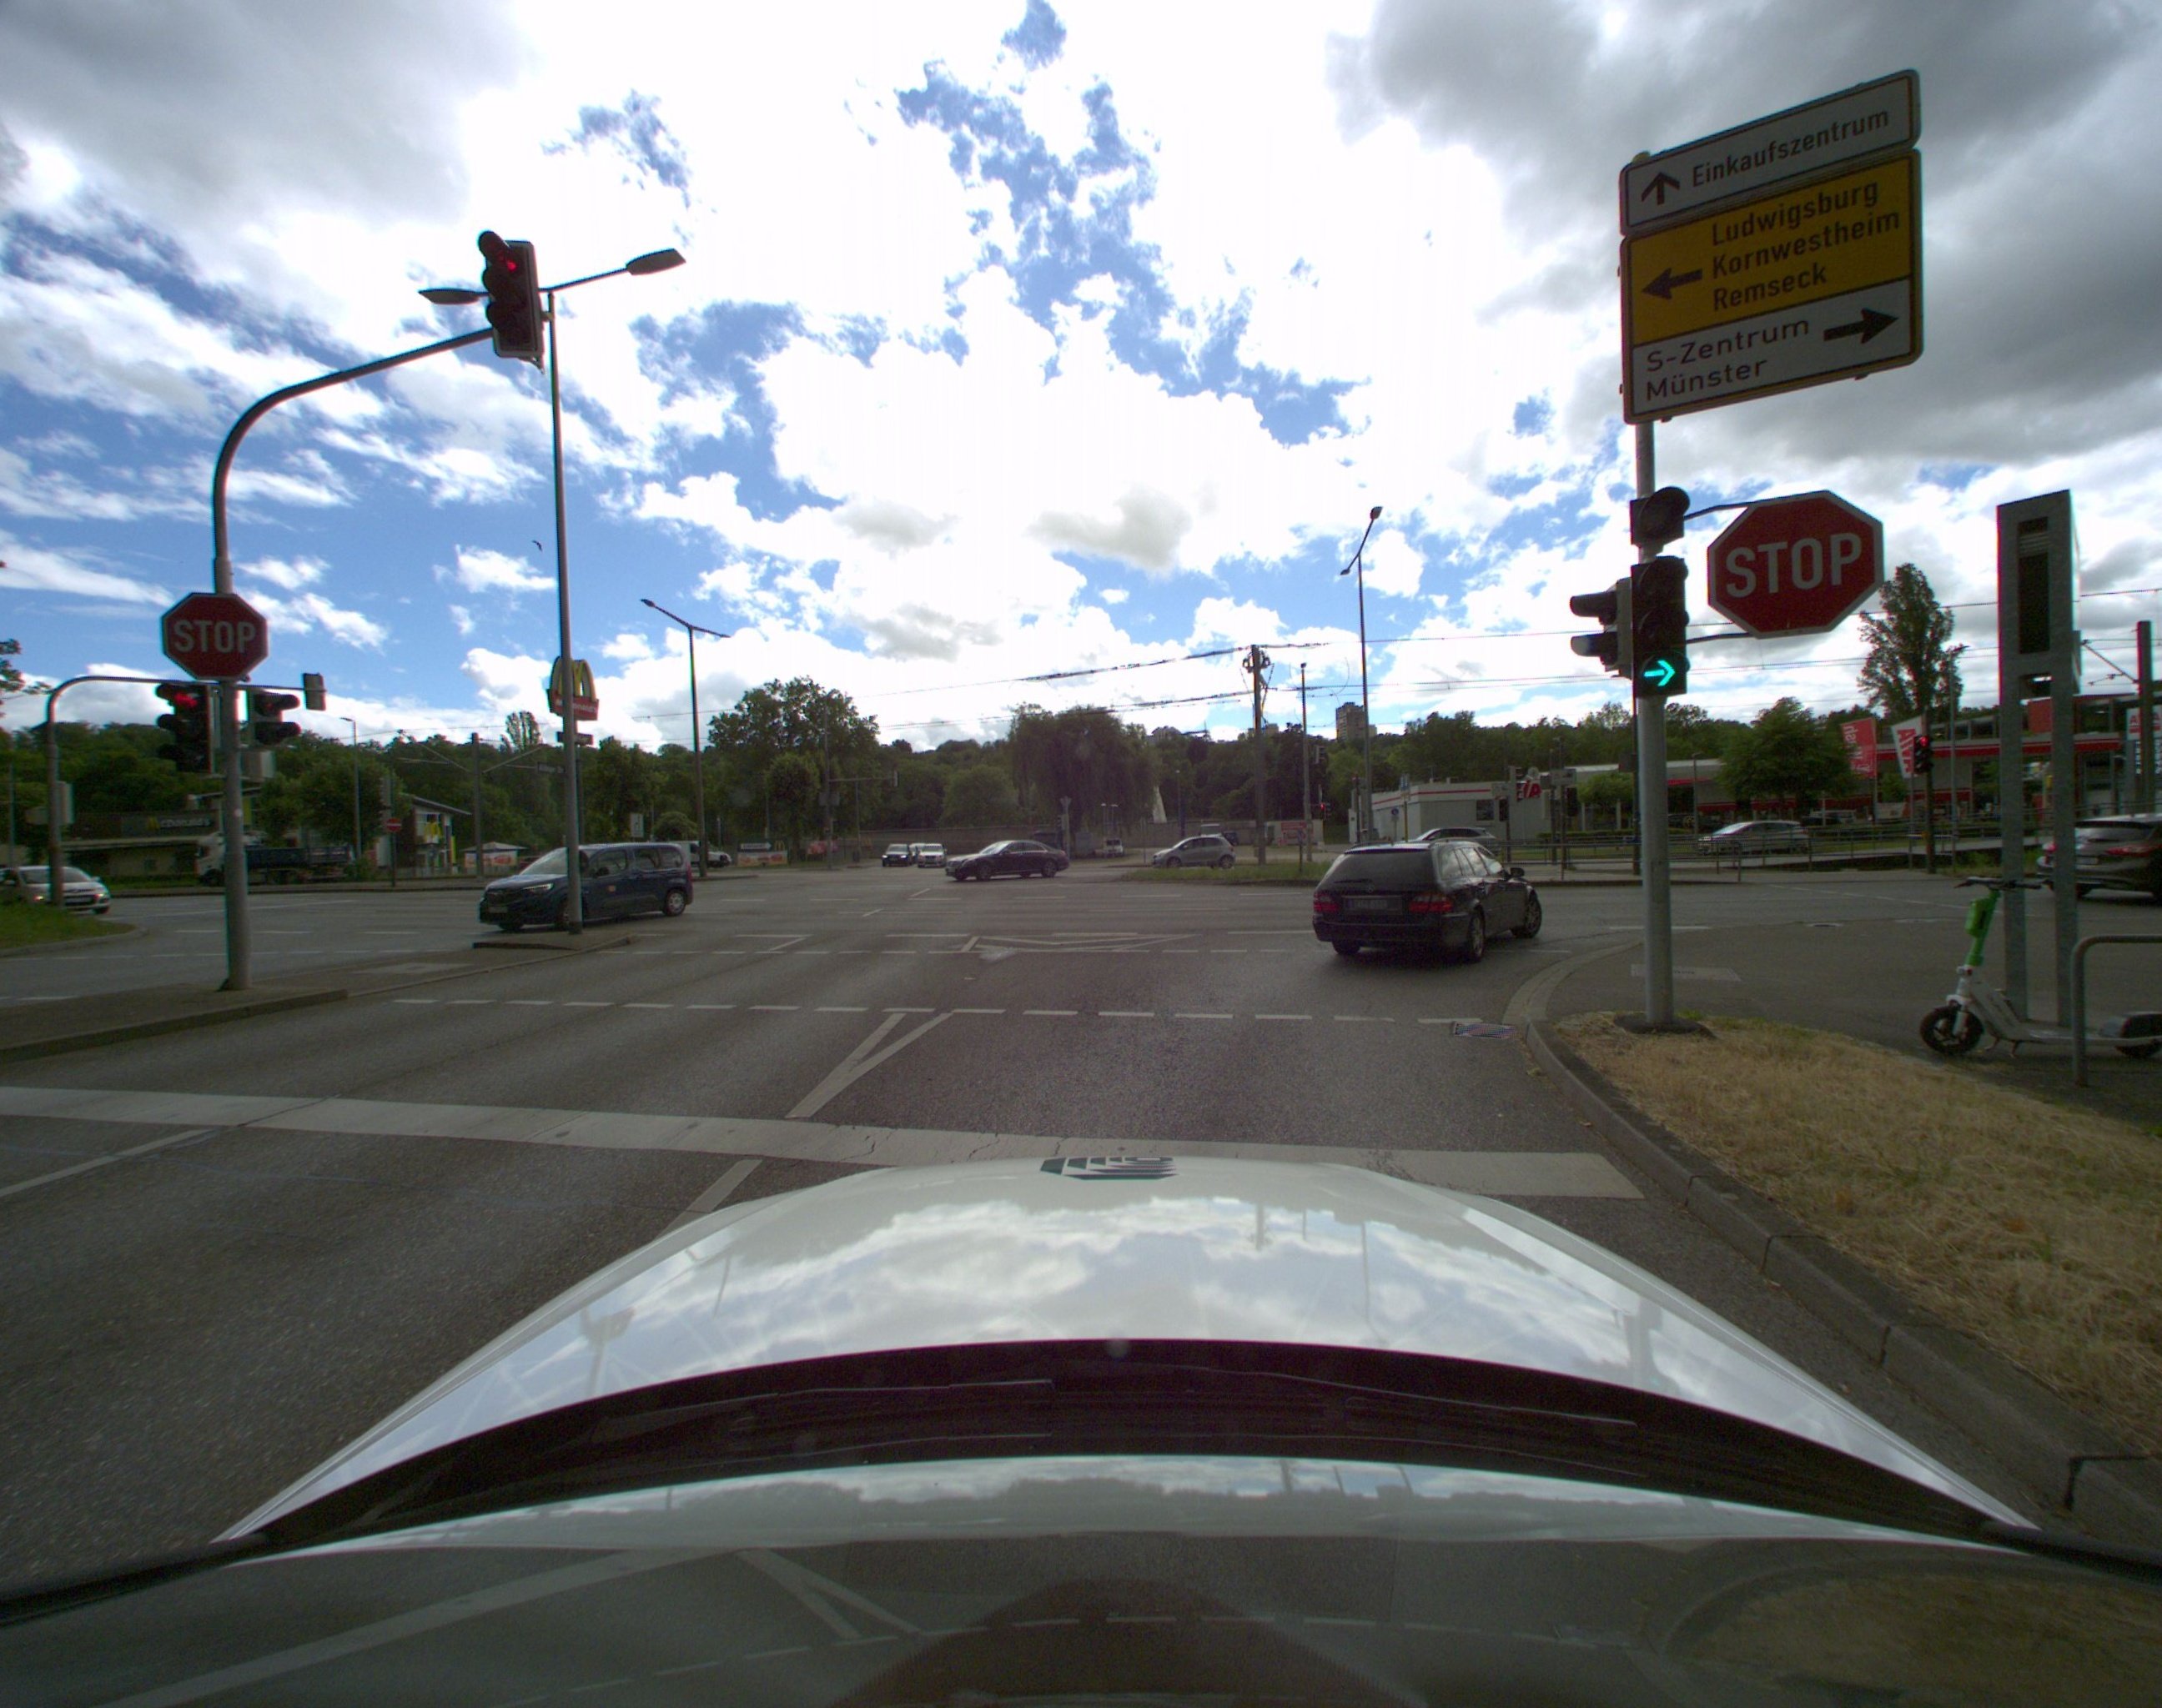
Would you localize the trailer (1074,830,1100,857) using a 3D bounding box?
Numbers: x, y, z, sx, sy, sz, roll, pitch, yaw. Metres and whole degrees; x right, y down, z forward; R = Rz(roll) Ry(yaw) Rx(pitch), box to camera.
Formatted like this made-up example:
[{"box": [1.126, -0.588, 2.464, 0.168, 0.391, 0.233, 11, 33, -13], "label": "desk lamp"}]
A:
[{"box": [0.542, -0.920, 72.062, 1.985, 2.184, 4.004, -3, 0, 3], "label": "trailer"}]

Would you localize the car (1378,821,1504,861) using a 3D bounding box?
[{"box": [16.230, -0.590, 36.992, 4.892, 1.600, 2.021, -2, 1, 10], "label": "car"}]

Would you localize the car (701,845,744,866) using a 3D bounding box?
[{"box": [-39.453, 0.163, 89.710, 3.997, 2.013, 1.988, -3, 0, -17], "label": "car"}]

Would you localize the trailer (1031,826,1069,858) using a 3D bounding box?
[{"box": [-2.583, -1.026, 70.036, 2.339, 2.582, 4.930, -3, 0, 7], "label": "trailer"}]

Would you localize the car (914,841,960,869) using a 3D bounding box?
[{"box": [-10.266, 0.061, 58.363, 1.983, 1.859, 4.008, -3, 0, 7], "label": "car"}]

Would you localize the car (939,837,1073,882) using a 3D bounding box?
[{"box": [-2.865, 0.160, 31.859, 5.092, 1.523, 1.724, -2, 1, -38], "label": "car"}]

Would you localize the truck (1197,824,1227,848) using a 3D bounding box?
[{"box": [11.944, -1.597, 74.709, 2.225, 2.013, 5.246, -3, 0, 4], "label": "truck"}]

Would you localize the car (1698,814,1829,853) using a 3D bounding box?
[{"box": [29.286, -0.866, 35.054, 4.005, 1.530, 1.724, -2, 1, 8], "label": "car"}]

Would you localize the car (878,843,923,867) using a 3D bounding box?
[{"box": [-13.417, 0.064, 60.920, 1.983, 1.640, 4.009, -2, 1, 7], "label": "car"}]

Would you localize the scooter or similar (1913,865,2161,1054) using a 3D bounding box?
[{"box": [6.190, 0.678, 5.284, 1.175, 1.169, 0.294, -2, 1, 7], "label": "scooter or similar"}]

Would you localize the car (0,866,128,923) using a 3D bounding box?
[{"box": [-30.968, 1.202, 24.574, 2.994, 1.574, 1.673, -2, 1, 15], "label": "car"}]

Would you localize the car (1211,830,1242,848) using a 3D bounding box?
[{"box": [16.242, -1.654, 91.138, 3.144, 1.818, 1.401, -3, 0, -4], "label": "car"}]

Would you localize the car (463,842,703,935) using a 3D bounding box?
[{"box": [-10.778, 0.635, 18.092, 1.589, 1.774, 4.581, -1, 1, 18], "label": "car"}]

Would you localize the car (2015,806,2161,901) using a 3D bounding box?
[{"box": [19.135, -0.073, 13.939, 4.116, 1.530, 1.735, -2, 1, 4], "label": "car"}]

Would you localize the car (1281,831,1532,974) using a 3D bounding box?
[{"box": [4.651, 0.489, 11.193, 1.805, 1.509, 4.603, -1, 1, 40], "label": "car"}]

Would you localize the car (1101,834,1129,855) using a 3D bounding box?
[{"box": [3.001, -0.818, 70.571, 1.983, 1.750, 4.008, -3, 0, 7], "label": "car"}]

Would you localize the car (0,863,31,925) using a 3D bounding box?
[{"box": [-37.620, 1.374, 27.004, 4.472, 2.013, 2.010, -2, 1, 19], "label": "car"}]

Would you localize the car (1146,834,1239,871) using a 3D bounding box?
[{"box": [5.010, -0.085, 36.733, 3.771, 1.508, 1.698, -2, 1, -11], "label": "car"}]

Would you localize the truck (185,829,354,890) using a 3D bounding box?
[{"box": [-54.439, 0.378, 54.702, 9.044, 3.587, 3.228, -3, 0, 9], "label": "truck"}]
